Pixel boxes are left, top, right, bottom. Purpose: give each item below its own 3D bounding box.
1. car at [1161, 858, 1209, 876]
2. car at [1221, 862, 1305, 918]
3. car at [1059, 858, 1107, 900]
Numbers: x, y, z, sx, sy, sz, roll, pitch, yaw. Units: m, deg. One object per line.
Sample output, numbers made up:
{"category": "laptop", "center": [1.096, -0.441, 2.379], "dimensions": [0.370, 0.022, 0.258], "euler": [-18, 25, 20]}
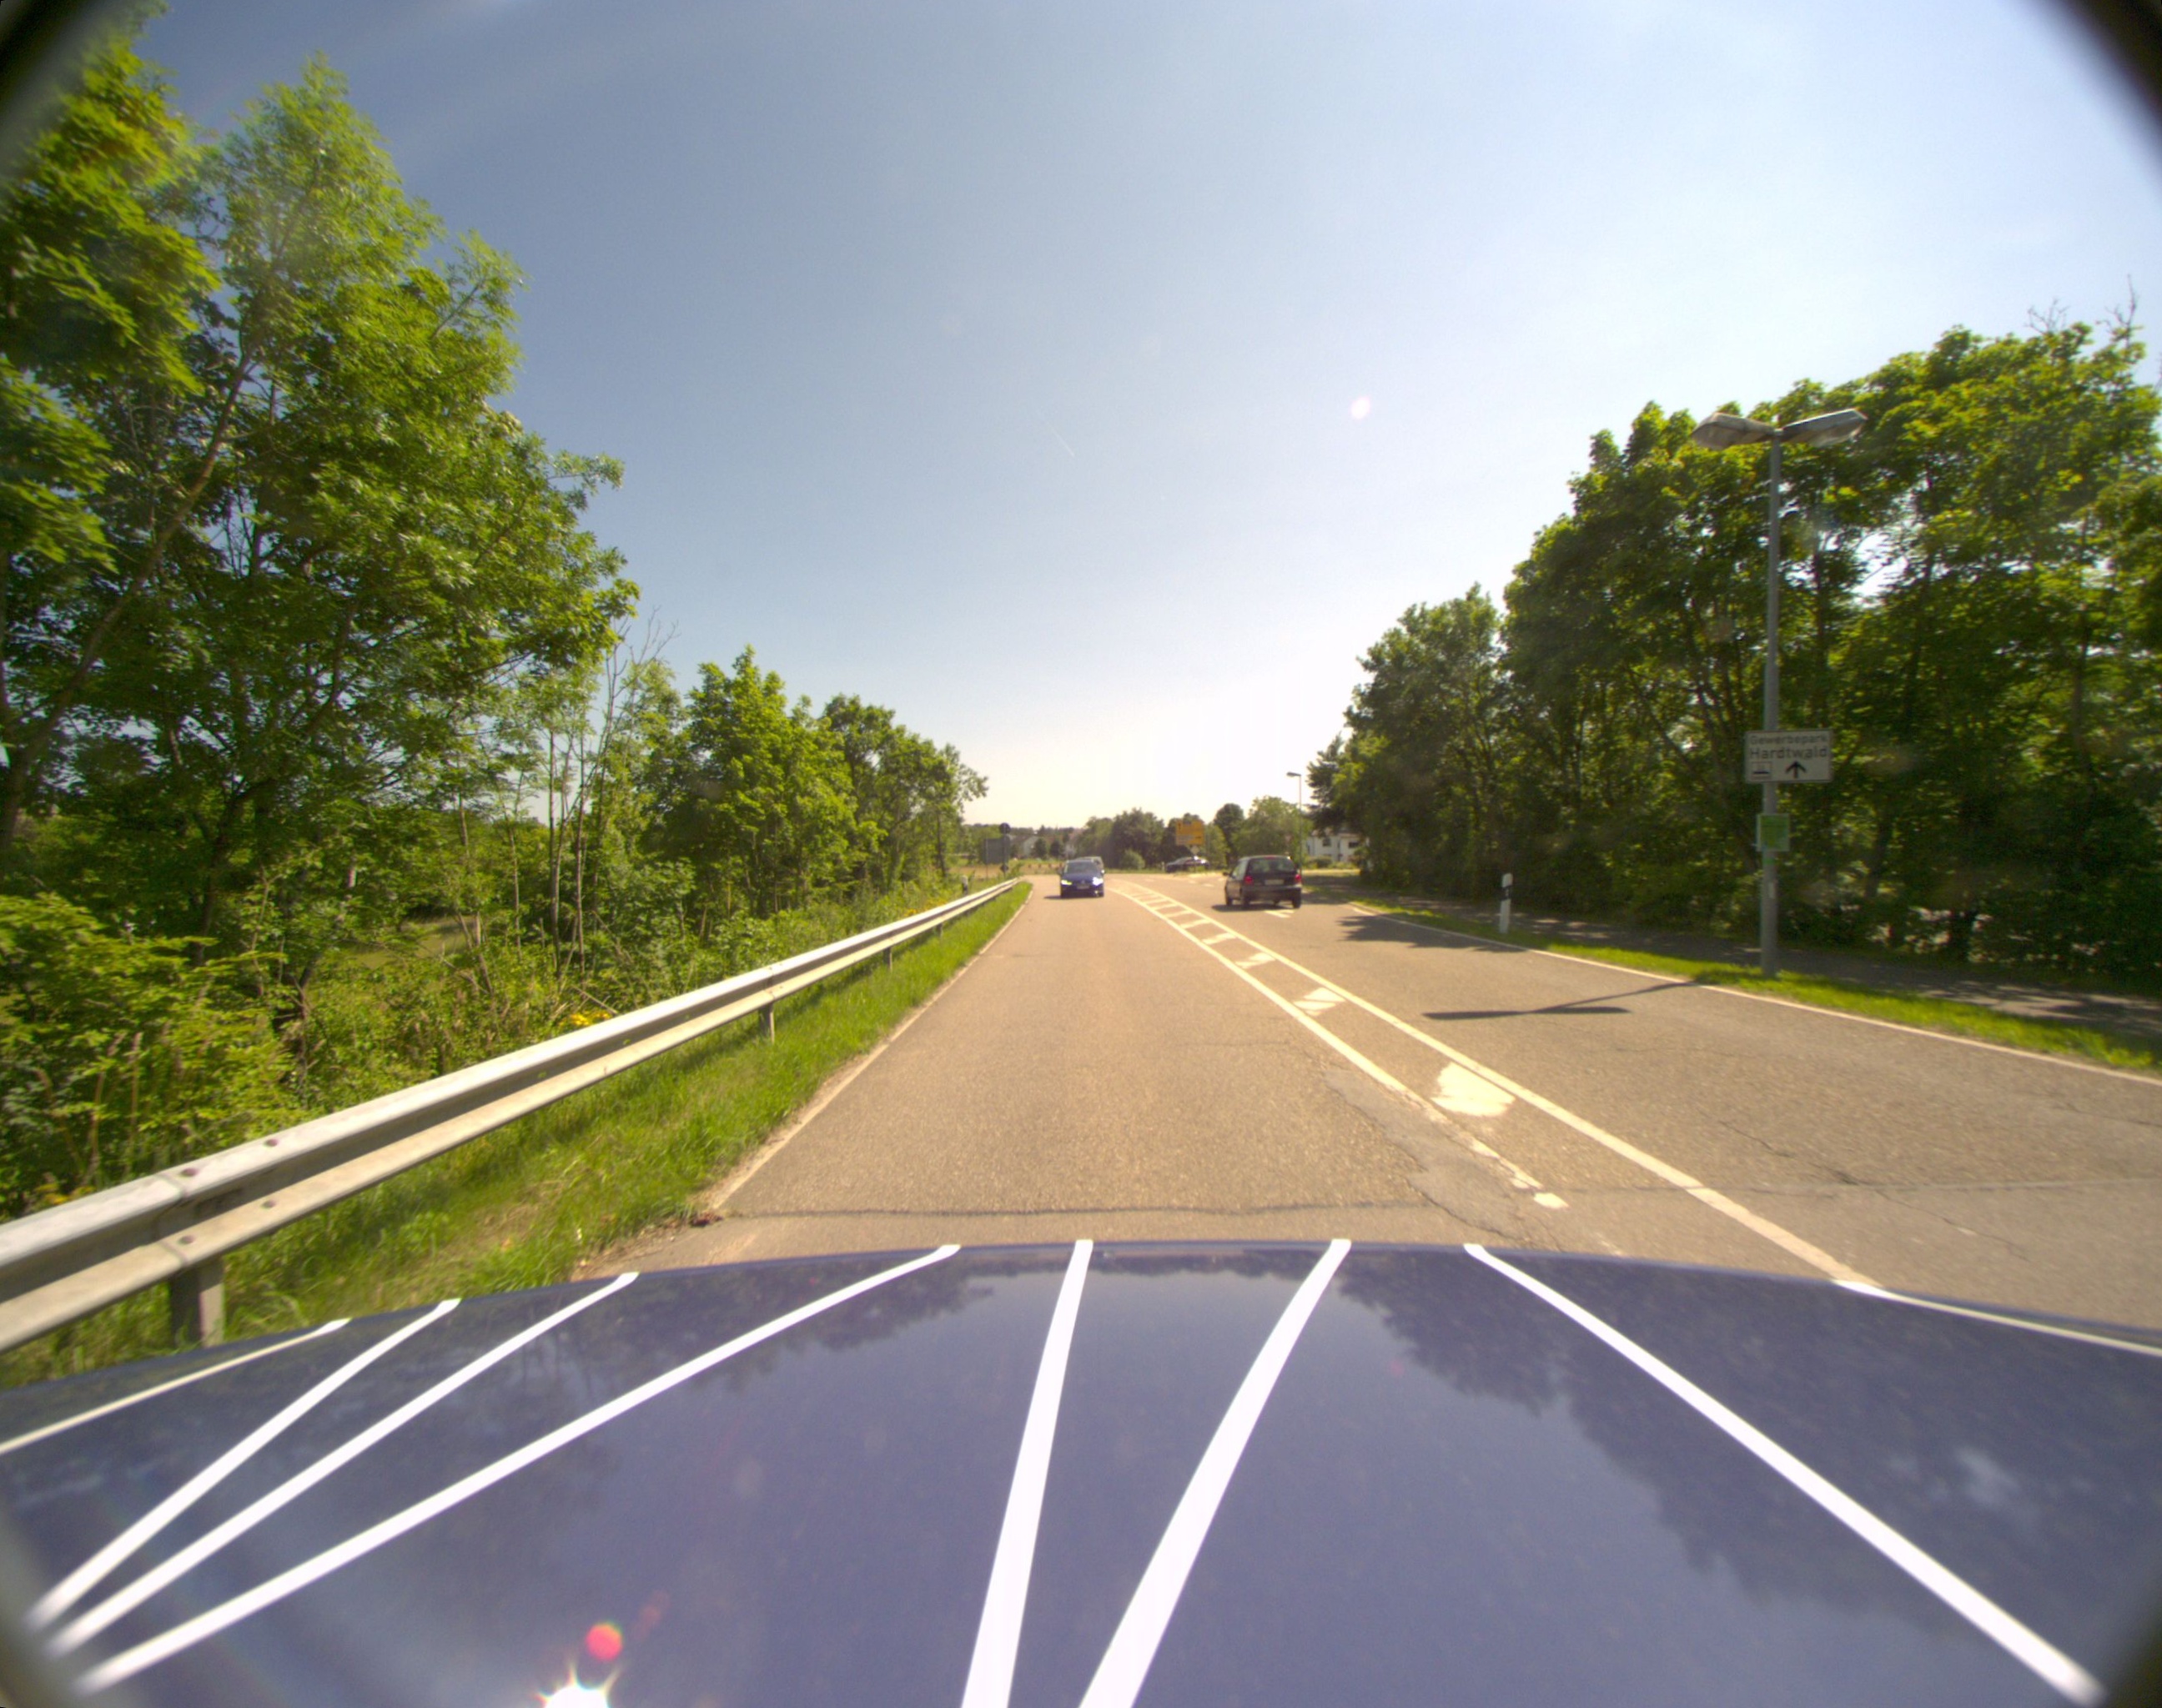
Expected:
{"category": "car", "center": [10.363, 1.271, 75.594], "dimensions": [4.381, 1.635, 1.747], "euler": [-1, -3, -21]}
{"category": "car", "center": [5.091, 0.957, 21.674], "dimensions": [1.631, 1.396, 3.433], "euler": [-2, 0, 1]}
{"category": "car", "center": [0.017, 1.013, 32.438], "dimensions": [1.829, 1.591, 4.194], "euler": [1, 0, -3]}
